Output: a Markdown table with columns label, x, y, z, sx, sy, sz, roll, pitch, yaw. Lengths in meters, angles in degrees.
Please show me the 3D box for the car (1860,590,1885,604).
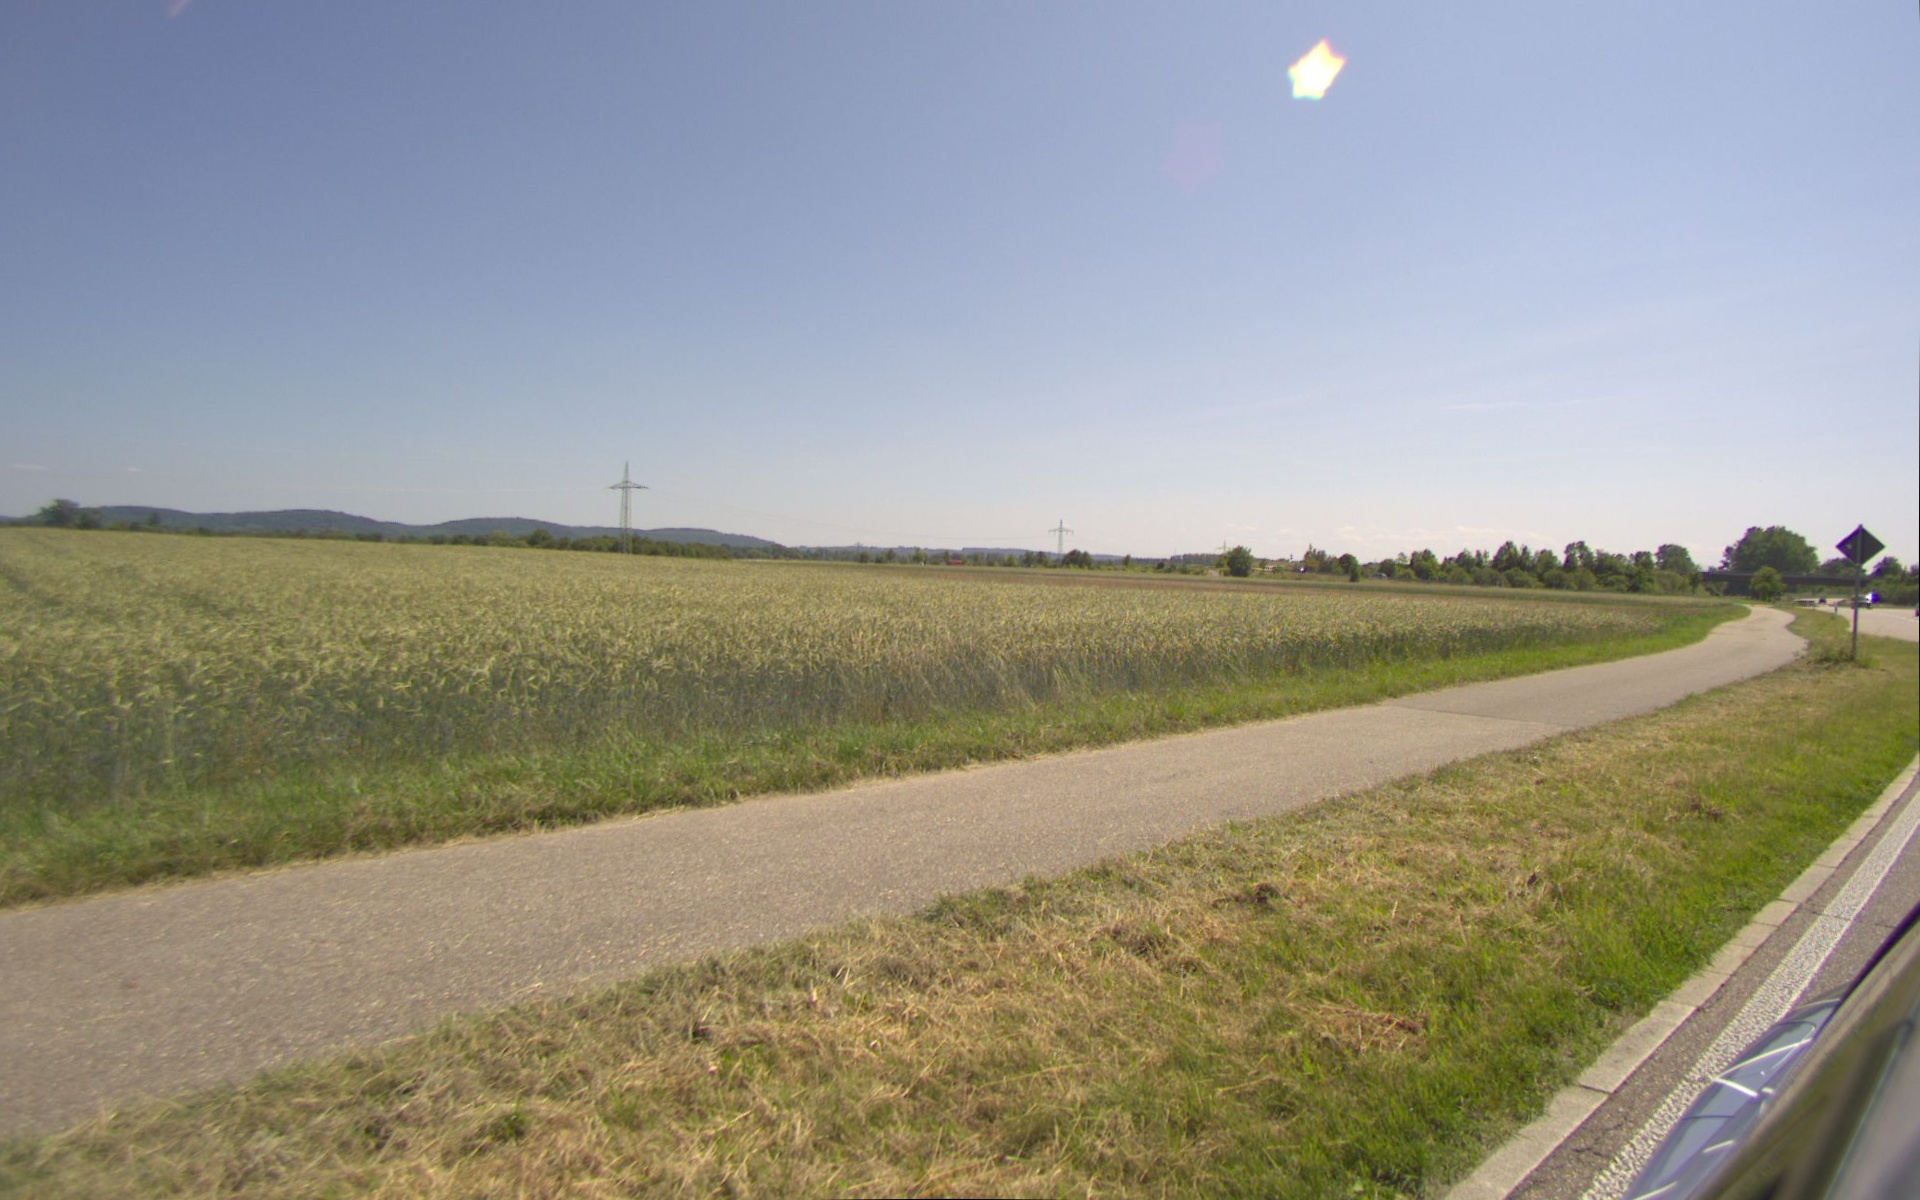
| label | x | y | z | sx | sy | sz | roll | pitch | yaw |
| --- | --- | --- | --- | --- | --- | --- | --- | --- | --- |
| car | 113.788 | -0.409 | 126.250 | 1.974 | 1.616 | 5.327 | 1 | 1 | 38 |
